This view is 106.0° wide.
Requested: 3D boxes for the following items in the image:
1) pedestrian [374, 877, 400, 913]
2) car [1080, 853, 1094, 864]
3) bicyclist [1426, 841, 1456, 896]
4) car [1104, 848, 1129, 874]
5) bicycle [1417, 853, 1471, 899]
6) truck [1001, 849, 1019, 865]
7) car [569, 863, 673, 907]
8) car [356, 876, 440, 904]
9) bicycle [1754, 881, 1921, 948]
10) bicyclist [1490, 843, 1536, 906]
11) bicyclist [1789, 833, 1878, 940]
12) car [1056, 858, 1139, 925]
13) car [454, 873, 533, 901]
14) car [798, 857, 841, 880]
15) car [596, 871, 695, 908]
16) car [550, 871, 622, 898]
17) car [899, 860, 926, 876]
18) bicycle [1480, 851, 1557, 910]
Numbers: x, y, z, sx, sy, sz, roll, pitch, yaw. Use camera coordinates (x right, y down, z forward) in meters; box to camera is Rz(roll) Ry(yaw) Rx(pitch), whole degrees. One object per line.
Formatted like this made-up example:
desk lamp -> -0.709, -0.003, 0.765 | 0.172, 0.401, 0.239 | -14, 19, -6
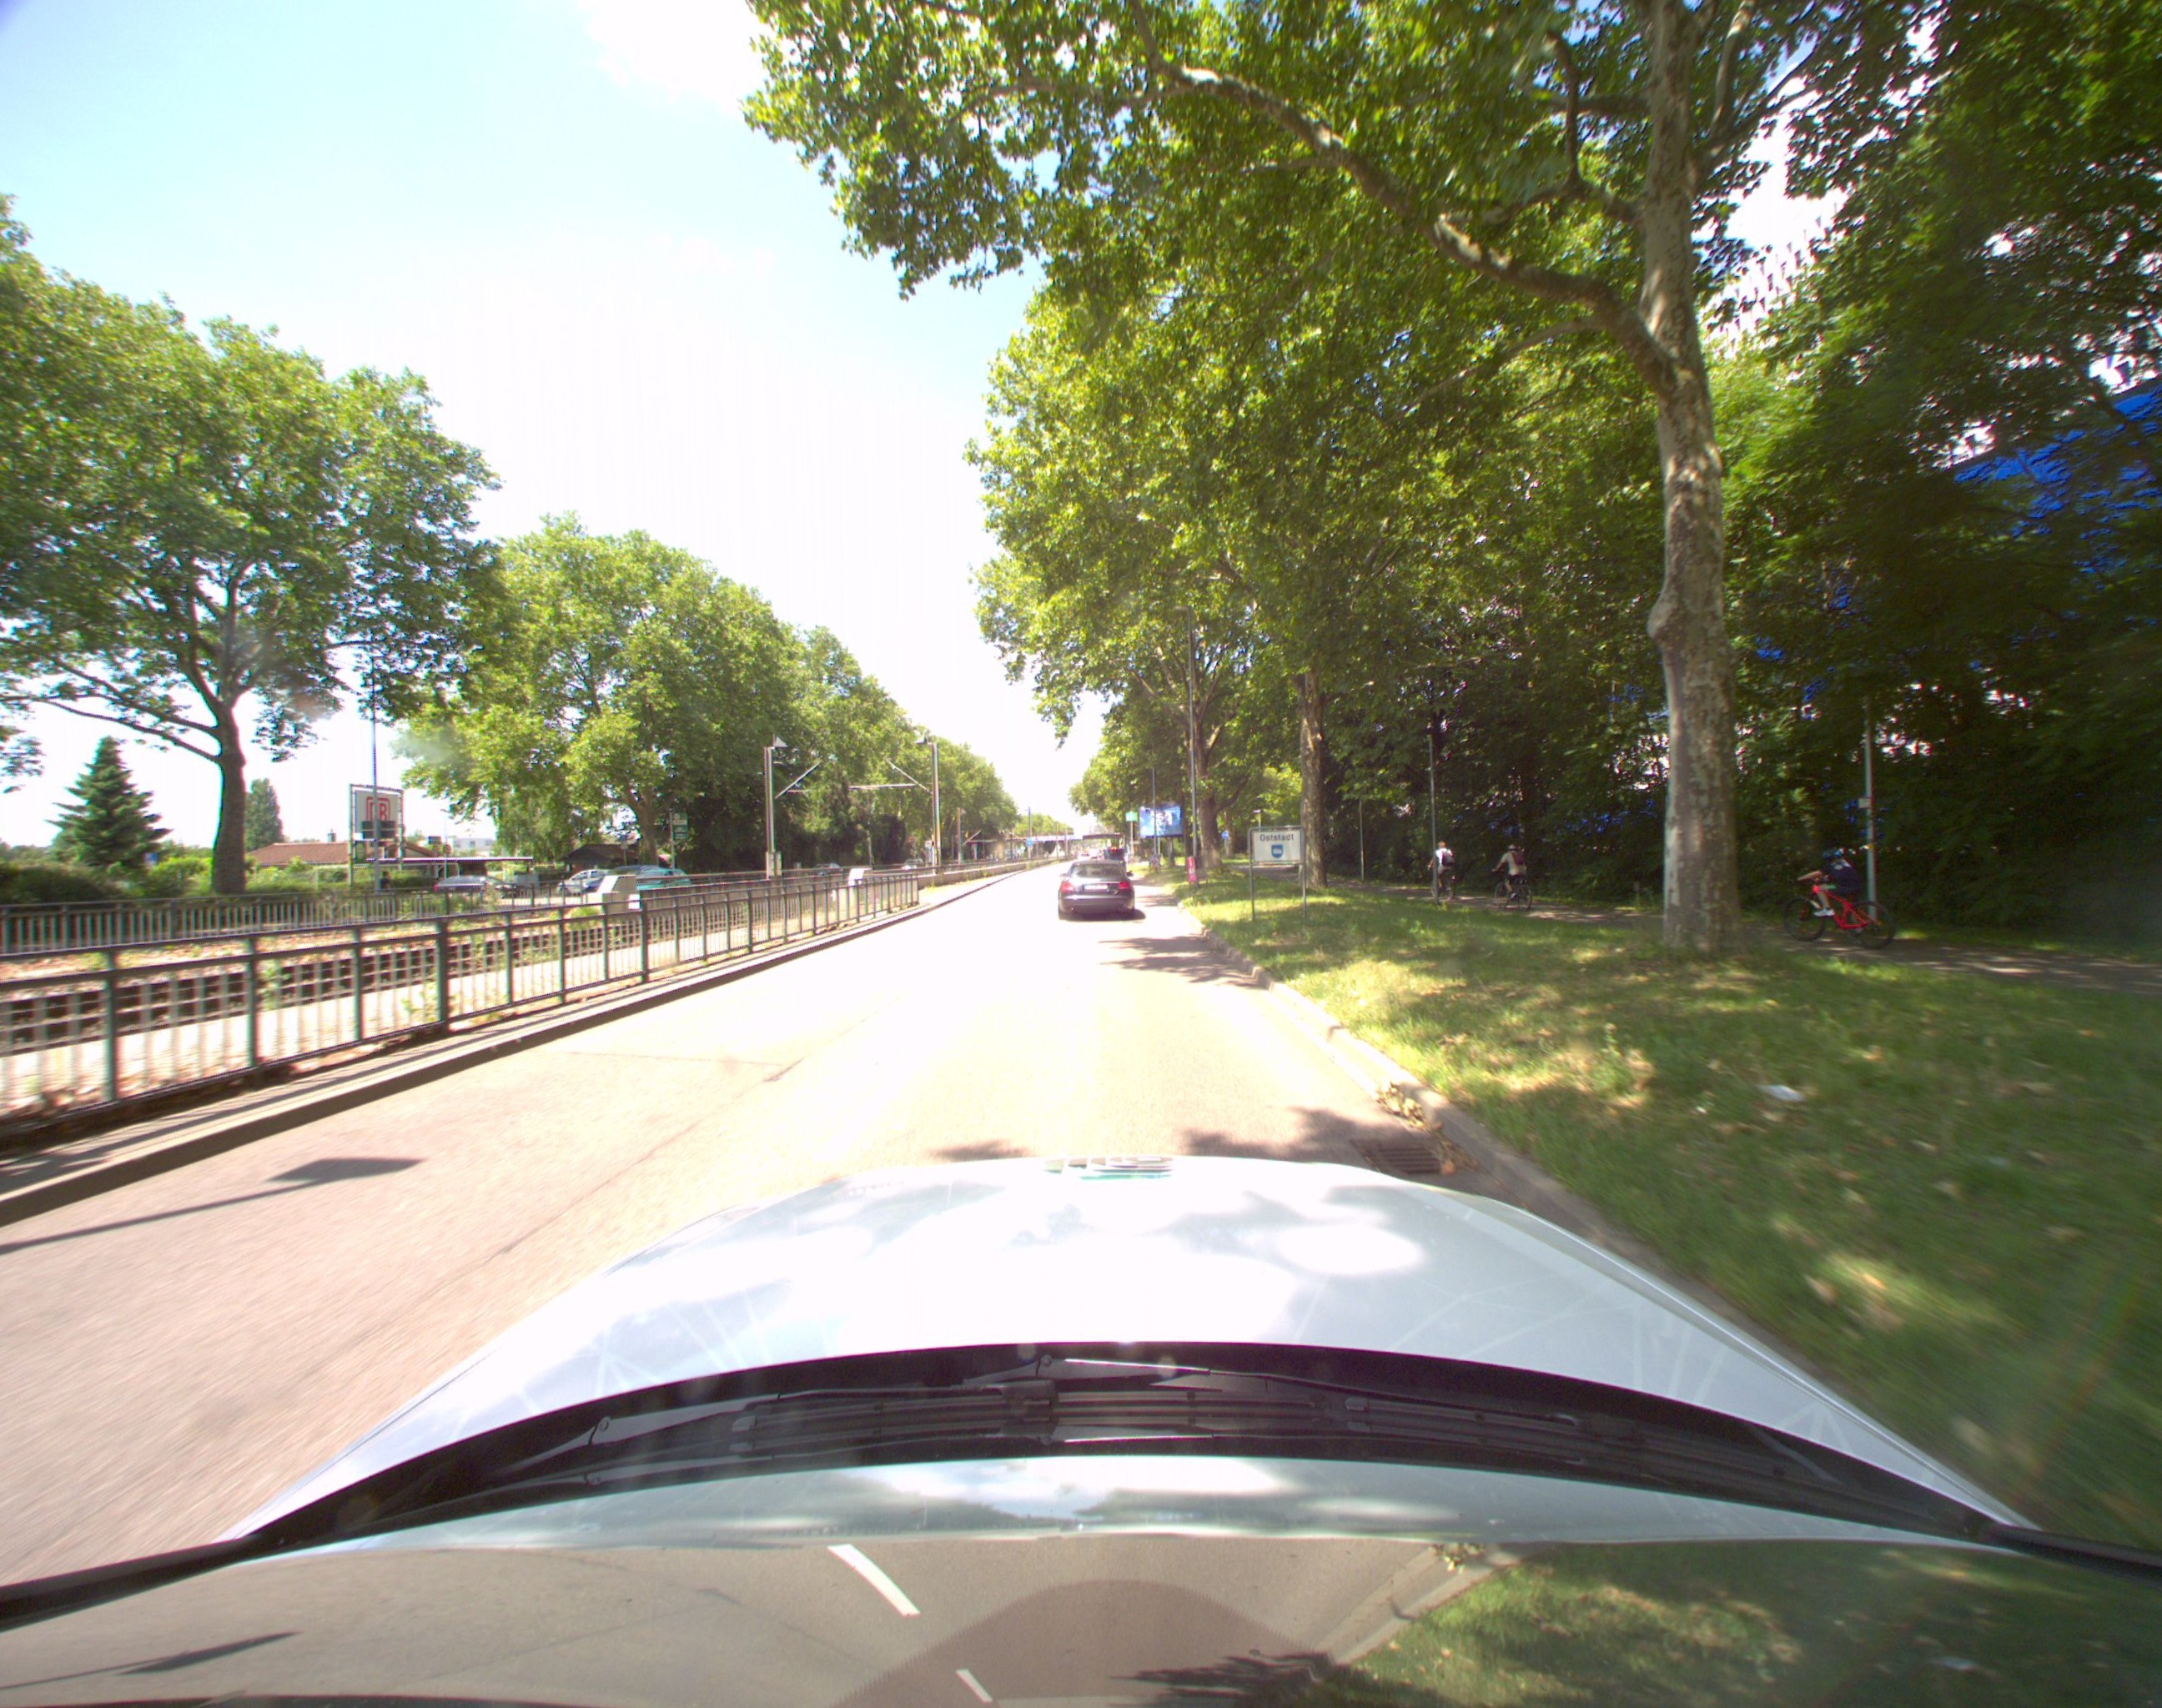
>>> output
pedestrian -> -28.998, 1.713, 34.036 | 0.556, 1.452, 0.643 | -1, 0, -13
car -> 0.783, 0.569, 109.145 | 1.840, 1.464, 3.999 | -2, 0, 0
bicyclist -> 11.696, 0.455, 26.502 | 0.595, 1.746, 0.843 | -1, 0, 1
car -> 2.821, 0.519, 64.082 | 1.840, 1.959, 4.148 | 0, 0, 3
bicycle -> 11.834, 0.684, 26.658 | 0.608, 1.420, 2.662 | -2, 0, 1
truck -> -13.997, 0.562, 161.418 | 2.983, 3.020, 7.992 | -2, 0, -2
car -> -19.855, 1.296, 35.398 | 1.736, 1.684, 4.388 | 2, 0, 4
car -> -39.928, 2.088, 47.688 | 3.316, 1.475, 1.649 | -2, 0, -10
bicycle -> 11.855, 0.920, 12.866 | 0.644, 0.887, 2.019 | -1, 0, -5
bicyclist -> 11.452, 0.529, 21.628 | 0.656, 1.599, 1.054 | -1, 0, 2
bicyclist -> 11.860, 0.494, 12.860 | 0.622, 1.610, 0.815 | -1, 0, -5
car -> 0.313, 0.852, 20.328 | 1.838, 1.484, 3.997 | -1, 0, -2
car -> -34.666, 1.937, 48.118 | 3.316, 1.475, 1.649 | -2, 0, -10
car -> -20.617, 1.116, 64.408 | 1.736, 1.684, 4.388 | -1, 0, 4
car -> -17.222, 1.386, 32.416 | 1.638, 1.265, 3.841 | -2, 0, 4
car -> -30.118, 1.832, 49.591 | 3.316, 1.475, 1.649 | -2, 0, -10
car -> -18.941, 1.606, 91.656 | 1.859, 1.684, 4.388 | 2, 0, 4
bicycle -> 11.467, 0.650, 21.480 | 0.608, 1.420, 2.662 | -2, 0, 1
